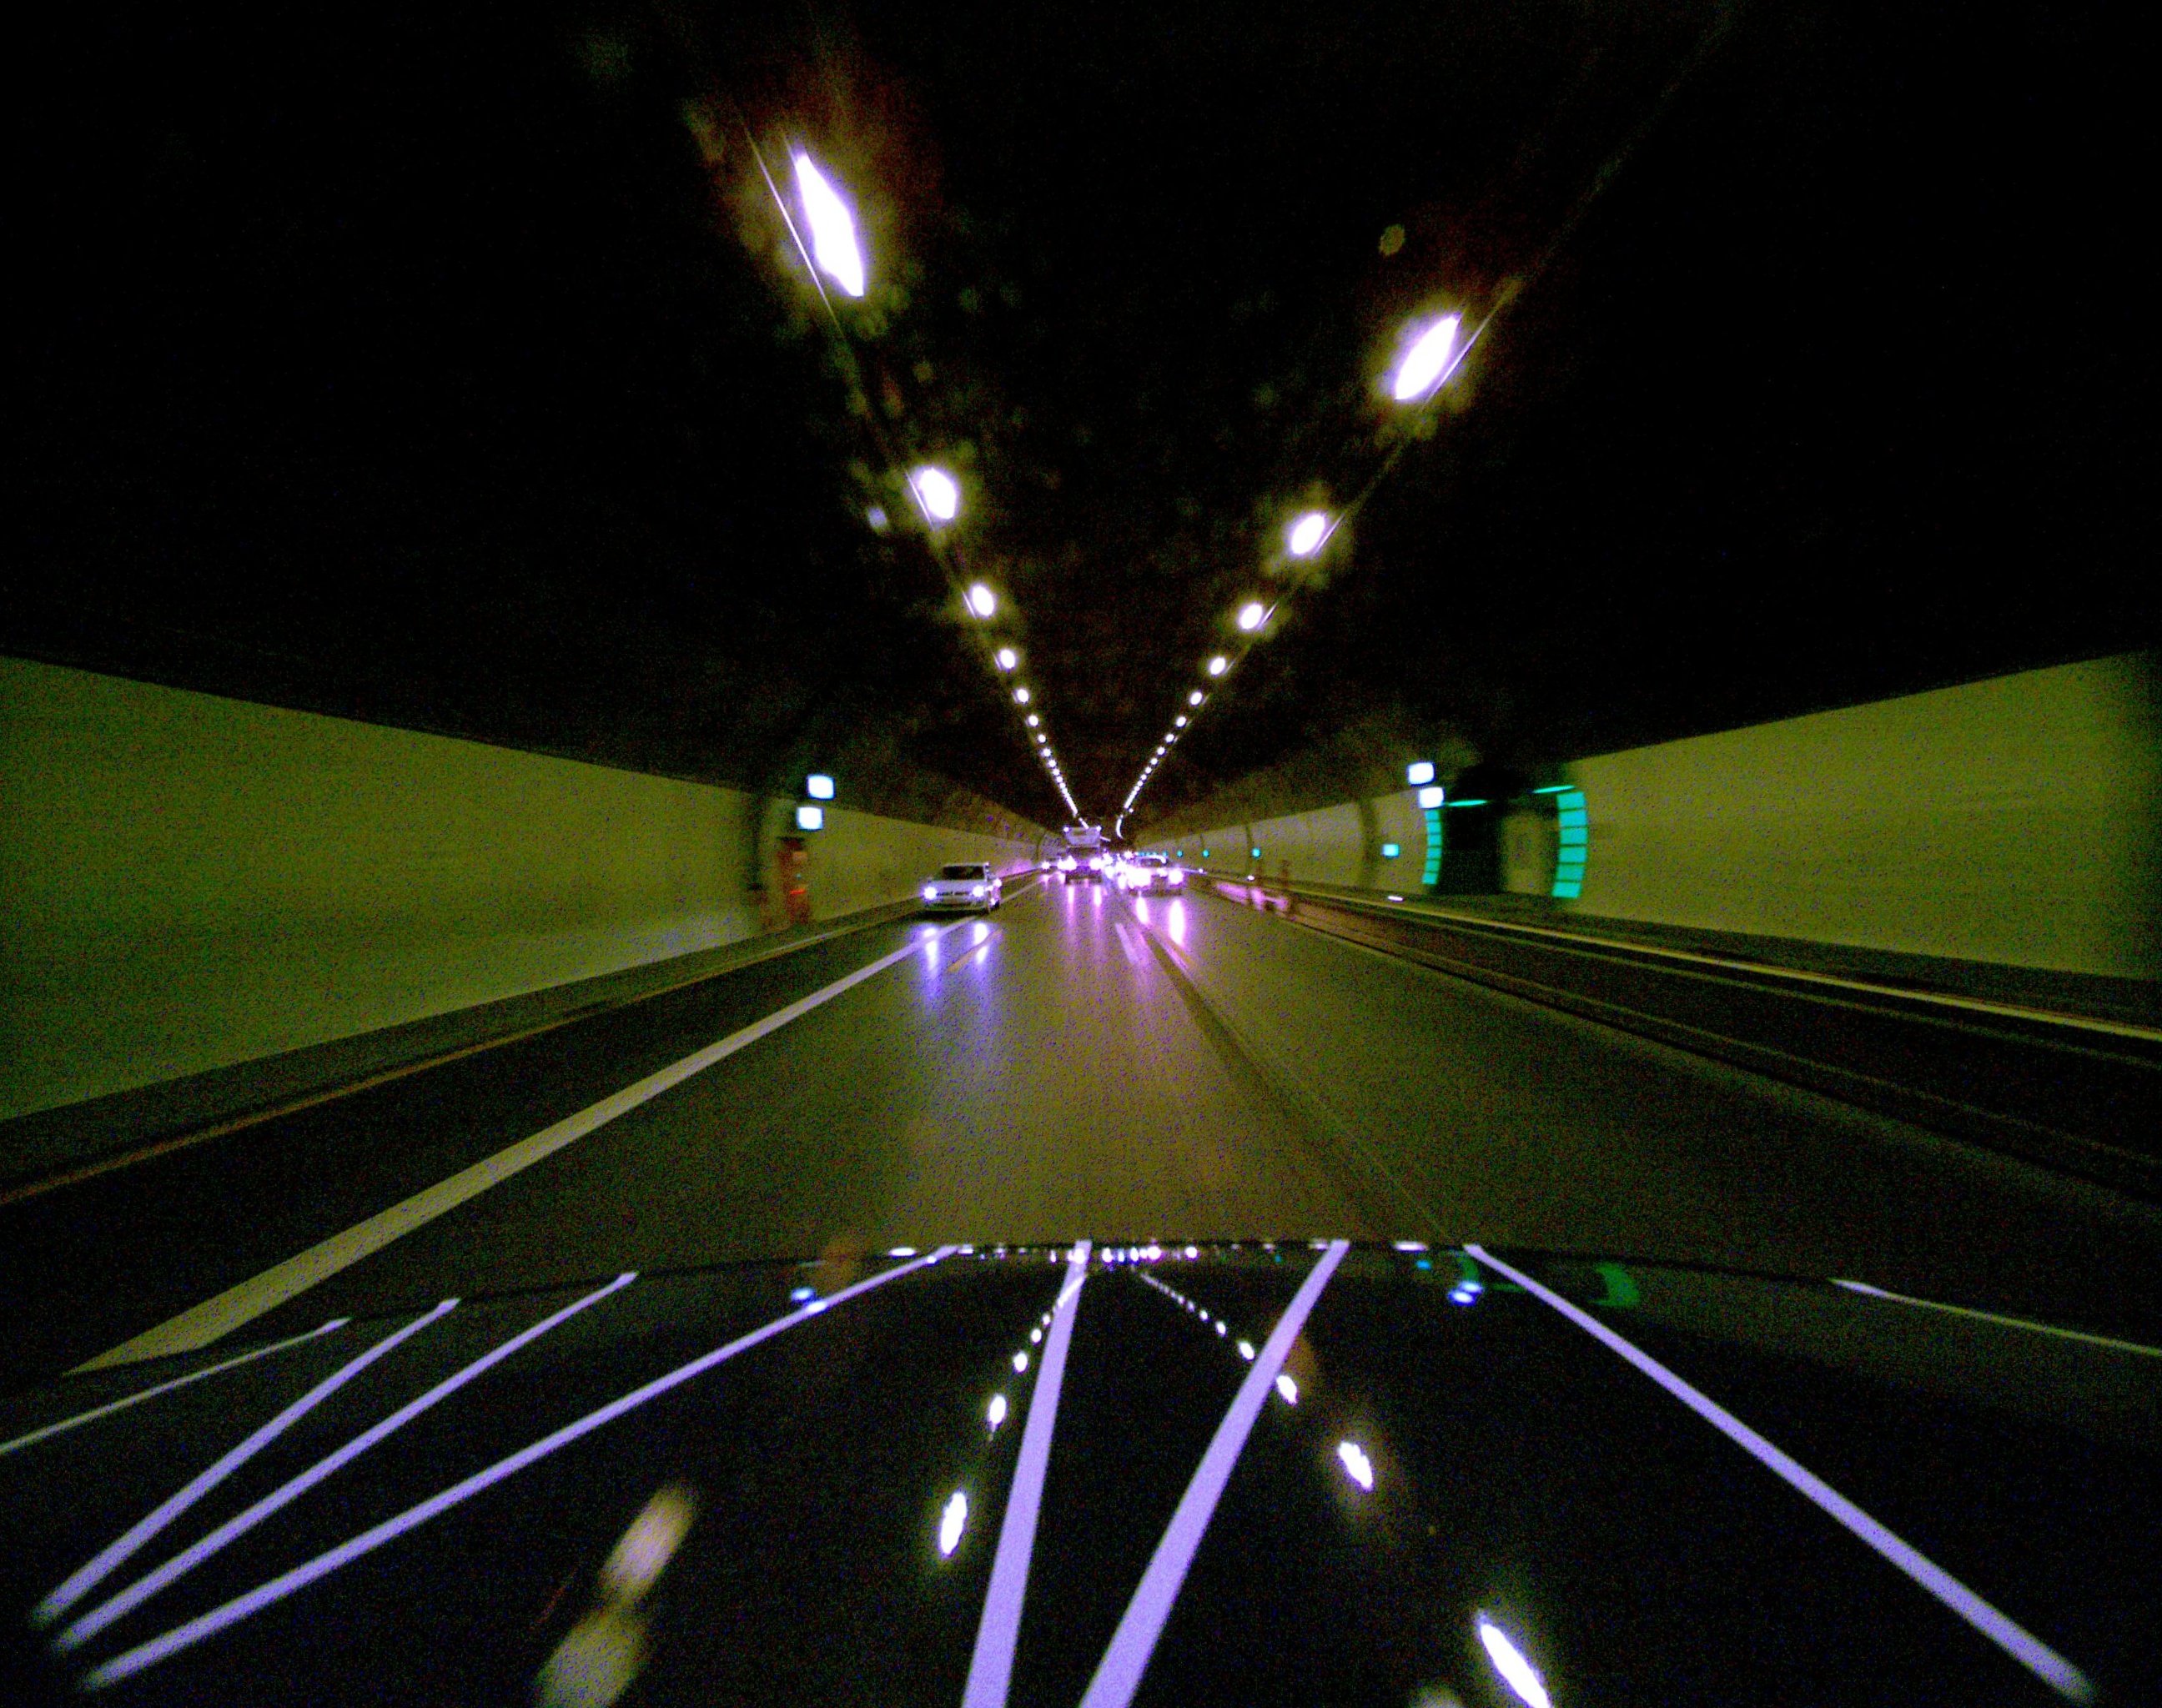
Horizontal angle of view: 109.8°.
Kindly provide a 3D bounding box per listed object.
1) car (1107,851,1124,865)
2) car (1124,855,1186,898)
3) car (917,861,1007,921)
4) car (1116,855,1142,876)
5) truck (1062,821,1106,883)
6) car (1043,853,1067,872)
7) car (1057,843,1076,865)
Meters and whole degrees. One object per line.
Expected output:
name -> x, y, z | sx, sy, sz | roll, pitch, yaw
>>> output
car -> 4.450, 0.489, 98.793 | 1.958, 1.528, 4.757 | -5, 1, 0
car -> 2.781, 0.809, 29.641 | 1.908, 1.476, 4.943 | -1, 0, 0
car -> -3.318, 0.989, 21.952 | 1.801, 1.452, 4.035 | -2, 0, 2
car -> 3.427, 0.781, 54.535 | 1.657, 1.395, 3.656 | -2, 1, 0
truck -> 0.205, -0.131, 44.973 | 2.262, 3.238, 7.382 | -2, 1, 0
car -> -2.364, 0.764, 69.092 | 1.958, 1.528, 4.757 | -3, 1, 0
car -> -1.825, 0.003, 97.939 | 2.124, 2.629, 6.229 | -3, 1, 0
